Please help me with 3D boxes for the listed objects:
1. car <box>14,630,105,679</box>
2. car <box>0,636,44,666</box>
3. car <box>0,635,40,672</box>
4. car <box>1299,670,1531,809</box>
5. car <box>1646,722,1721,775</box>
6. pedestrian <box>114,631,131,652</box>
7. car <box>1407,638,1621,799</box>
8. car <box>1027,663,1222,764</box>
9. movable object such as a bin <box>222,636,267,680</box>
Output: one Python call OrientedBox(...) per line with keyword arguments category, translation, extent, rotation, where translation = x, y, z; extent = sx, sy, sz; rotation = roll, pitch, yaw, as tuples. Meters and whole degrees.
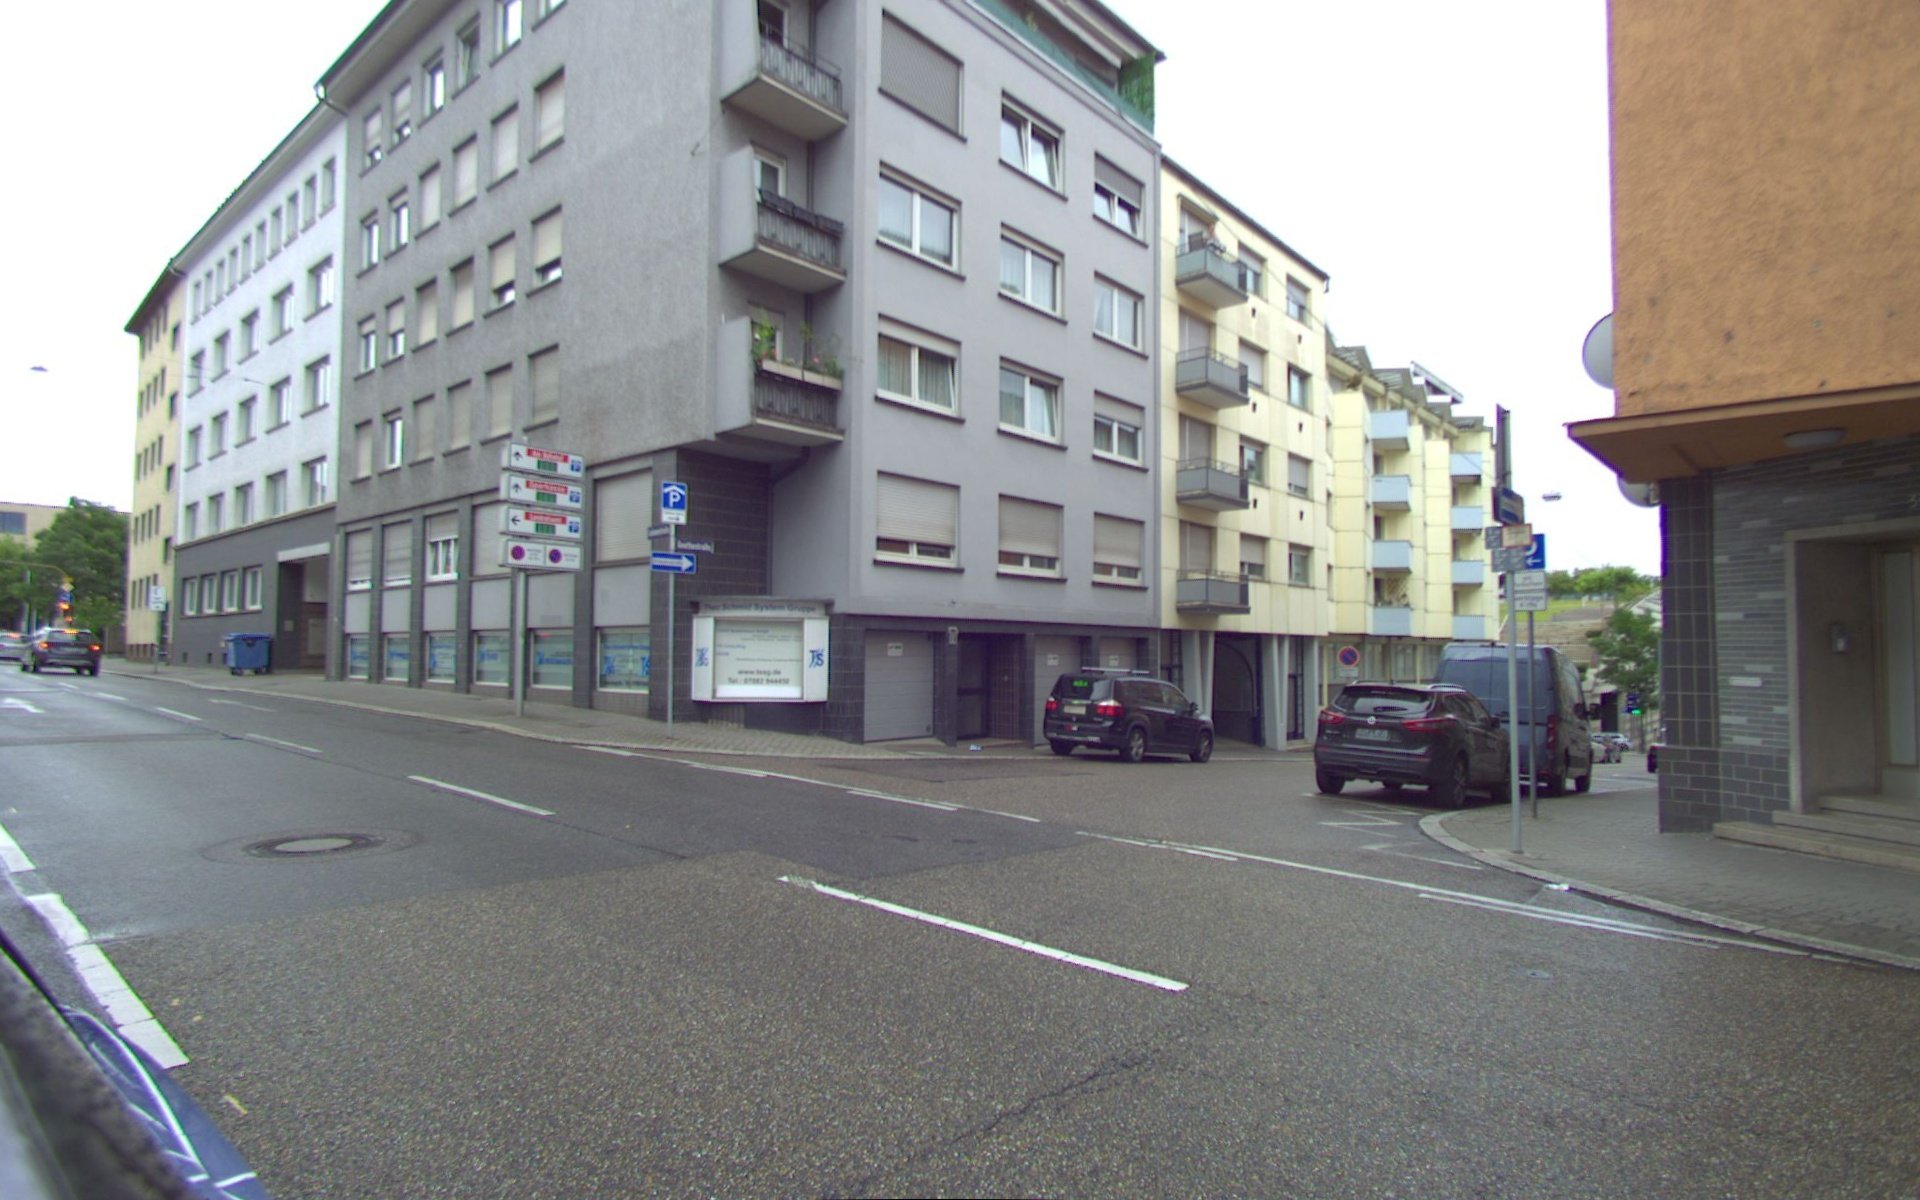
OrientedBox(category="car", translation=(-30.816, 1.850, 34.603), extent=(4.157, 1.519, 1.685), rotation=(-1, -5, 41))
OrientedBox(category="car", translation=(-56.331, 3.051, 60.398), extent=(3.998, 1.695, 1.972), rotation=(-1, -4, 41))
OrientedBox(category="car", translation=(-43.994, 2.449, 46.632), extent=(4.371, 1.602, 1.858), rotation=(-1, -3, 41))
OrientedBox(category="car", translation=(6.462, 1.945, 14.123), extent=(1.842, 1.589, 4.098), rotation=(-1, -8, 41))
OrientedBox(category="car", translation=(25.989, 5.339, 36.308), extent=(1.817, 1.688, 3.998), rotation=(-1, -8, 41))
OrientedBox(category="pedestrian", translation=(-46.263, 2.295, 55.914), extent=(0.407, 1.158, 0.575), rotation=(-2, -6, 42))
OrientedBox(category="car", translation=(10.431, 2.200, 18.757), extent=(2.249, 2.480, 5.975), rotation=(-1, -7, 41))
OrientedBox(category="car", translation=(3.336, 2.272, 19.925), extent=(1.794, 1.700, 4.186), rotation=(-1, -8, 41))
OrientedBox(category="movable object such as a bin", translation=(-22.916, 1.841, 32.396), extent=(1.096, 1.343, 0.933), rotation=(-1, 0, 41))
